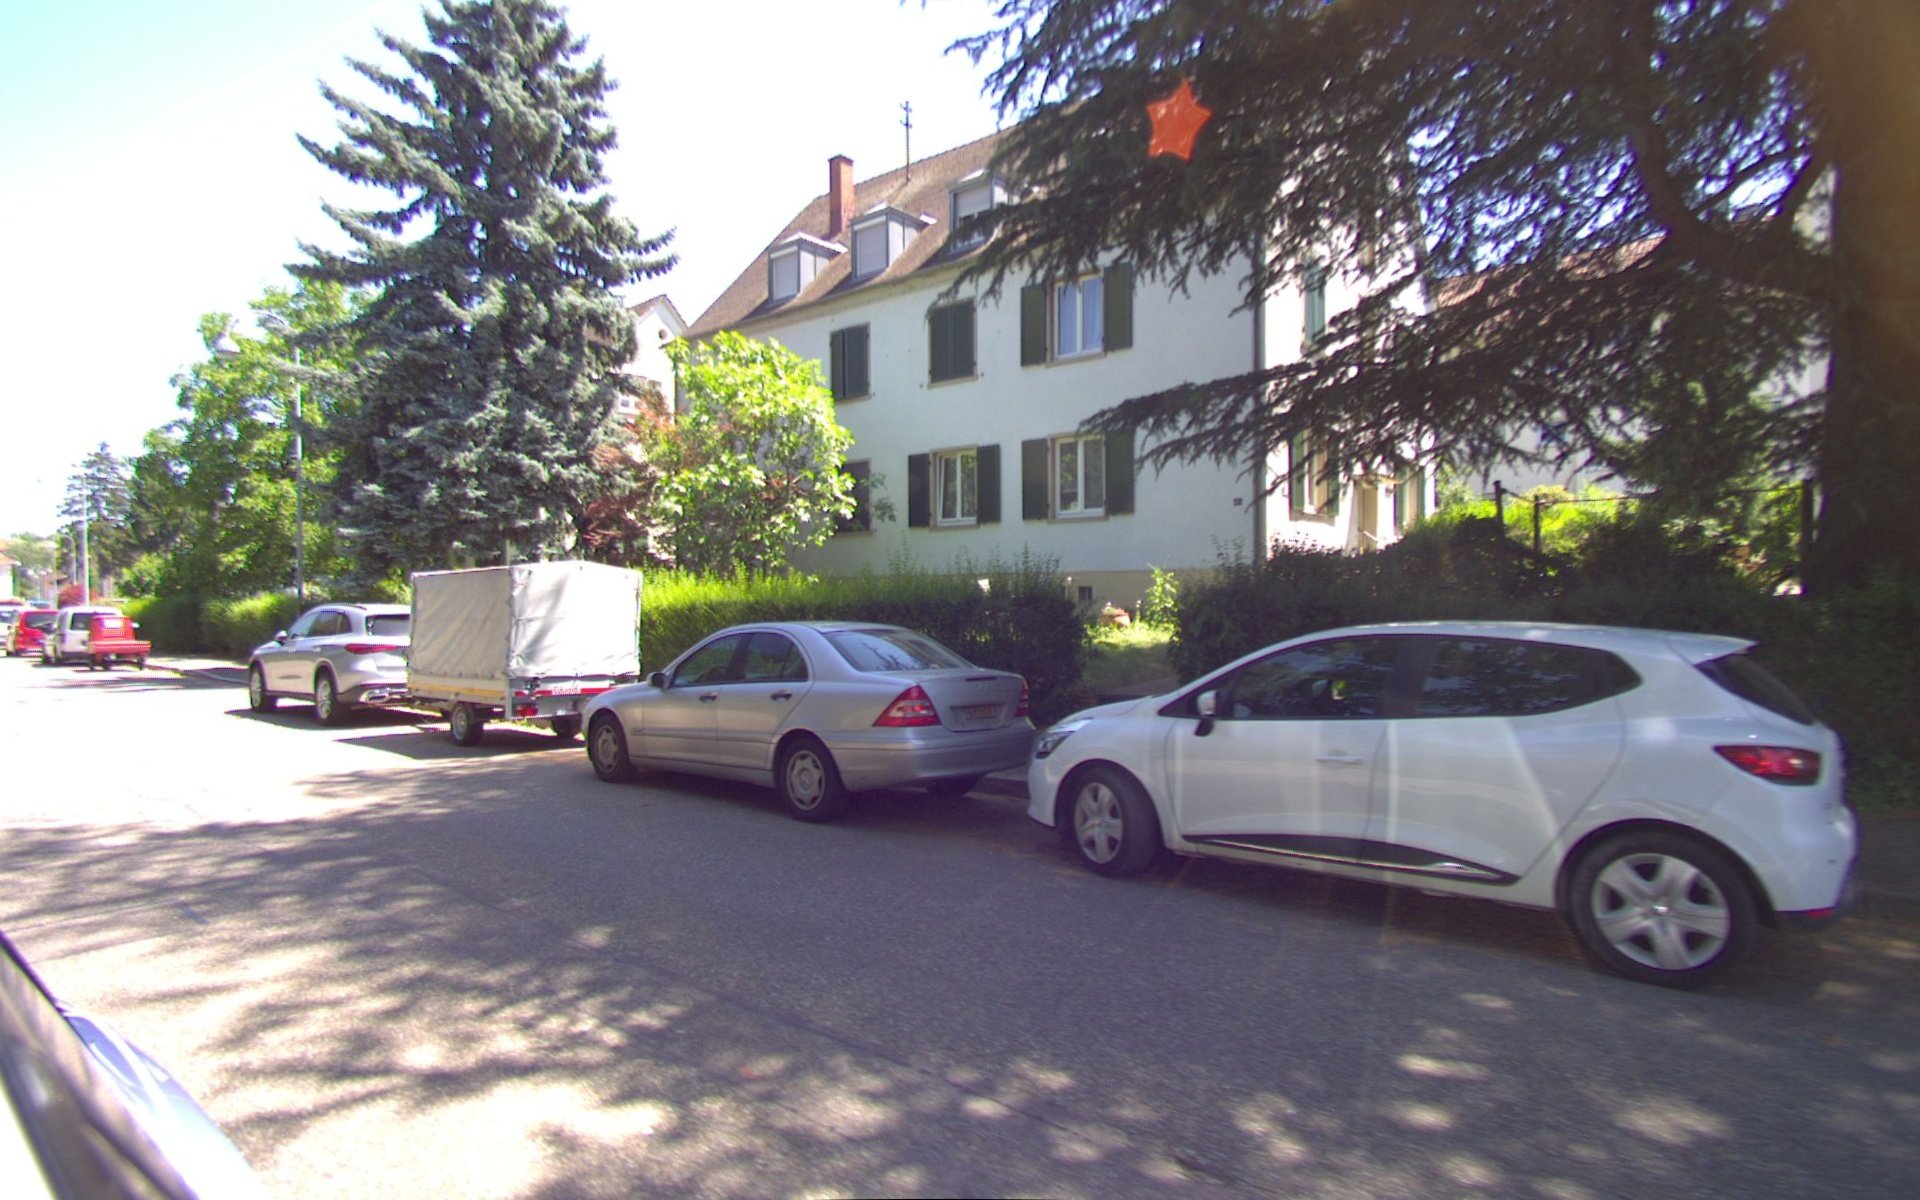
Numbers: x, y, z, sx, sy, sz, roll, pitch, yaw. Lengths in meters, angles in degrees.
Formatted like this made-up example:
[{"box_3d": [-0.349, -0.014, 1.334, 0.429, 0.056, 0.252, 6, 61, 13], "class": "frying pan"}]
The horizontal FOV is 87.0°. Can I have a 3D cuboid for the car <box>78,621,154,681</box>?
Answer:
[{"box_3d": [-23.344, 1.393, 27.983, 2.320, 1.589, 1.291, -2, -2, 42], "class": "car"}]

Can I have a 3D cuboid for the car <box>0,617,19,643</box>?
[{"box_3d": [-64.082, 1.985, 67.291, 3.999, 1.650, 1.868, -1, -3, 43], "class": "car"}]

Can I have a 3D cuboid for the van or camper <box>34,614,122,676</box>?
[{"box_3d": [-27.183, 1.350, 31.156, 3.887, 1.784, 1.562, -2, -2, 42], "class": "van or camper"}]

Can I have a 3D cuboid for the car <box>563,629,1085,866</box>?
[{"box_3d": [-1.326, 0.974, 8.381, 4.474, 1.453, 1.778, -1, -3, 41], "class": "car"}]

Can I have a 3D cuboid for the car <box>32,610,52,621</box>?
[{"box_3d": [-148.458, 2.498, 163.646, 1.864, 1.749, 4.008, 3, -3, -36], "class": "car"}]

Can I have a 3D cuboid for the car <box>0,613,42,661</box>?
[{"box_3d": [-44.167, 1.709, 46.991, 3.999, 2.131, 1.868, -1, -3, 43], "class": "car"}]

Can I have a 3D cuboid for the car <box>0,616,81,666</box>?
[{"box_3d": [-34.378, 1.516, 37.805, 3.612, 1.773, 1.868, -1, -3, 43], "class": "car"}]

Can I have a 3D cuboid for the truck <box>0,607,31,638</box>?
[{"box_3d": [-94.304, 2.215, 100.662, 2.193, 2.954, 6.736, 3, -3, -38], "class": "truck"}]

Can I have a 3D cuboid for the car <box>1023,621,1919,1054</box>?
[{"box_3d": [2.410, 0.862, 5.323, 3.894, 1.453, 1.778, -1, -3, 41], "class": "car"}]

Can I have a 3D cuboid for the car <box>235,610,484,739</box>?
[{"box_3d": [-8.987, 1.019, 14.986, 4.545, 1.631, 1.750, -1, -3, 40], "class": "car"}]

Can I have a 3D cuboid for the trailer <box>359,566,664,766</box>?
[{"box_3d": [-5.572, 0.755, 12.384, 3.997, 2.049, 1.796, -1, -4, 40], "class": "trailer"}]
